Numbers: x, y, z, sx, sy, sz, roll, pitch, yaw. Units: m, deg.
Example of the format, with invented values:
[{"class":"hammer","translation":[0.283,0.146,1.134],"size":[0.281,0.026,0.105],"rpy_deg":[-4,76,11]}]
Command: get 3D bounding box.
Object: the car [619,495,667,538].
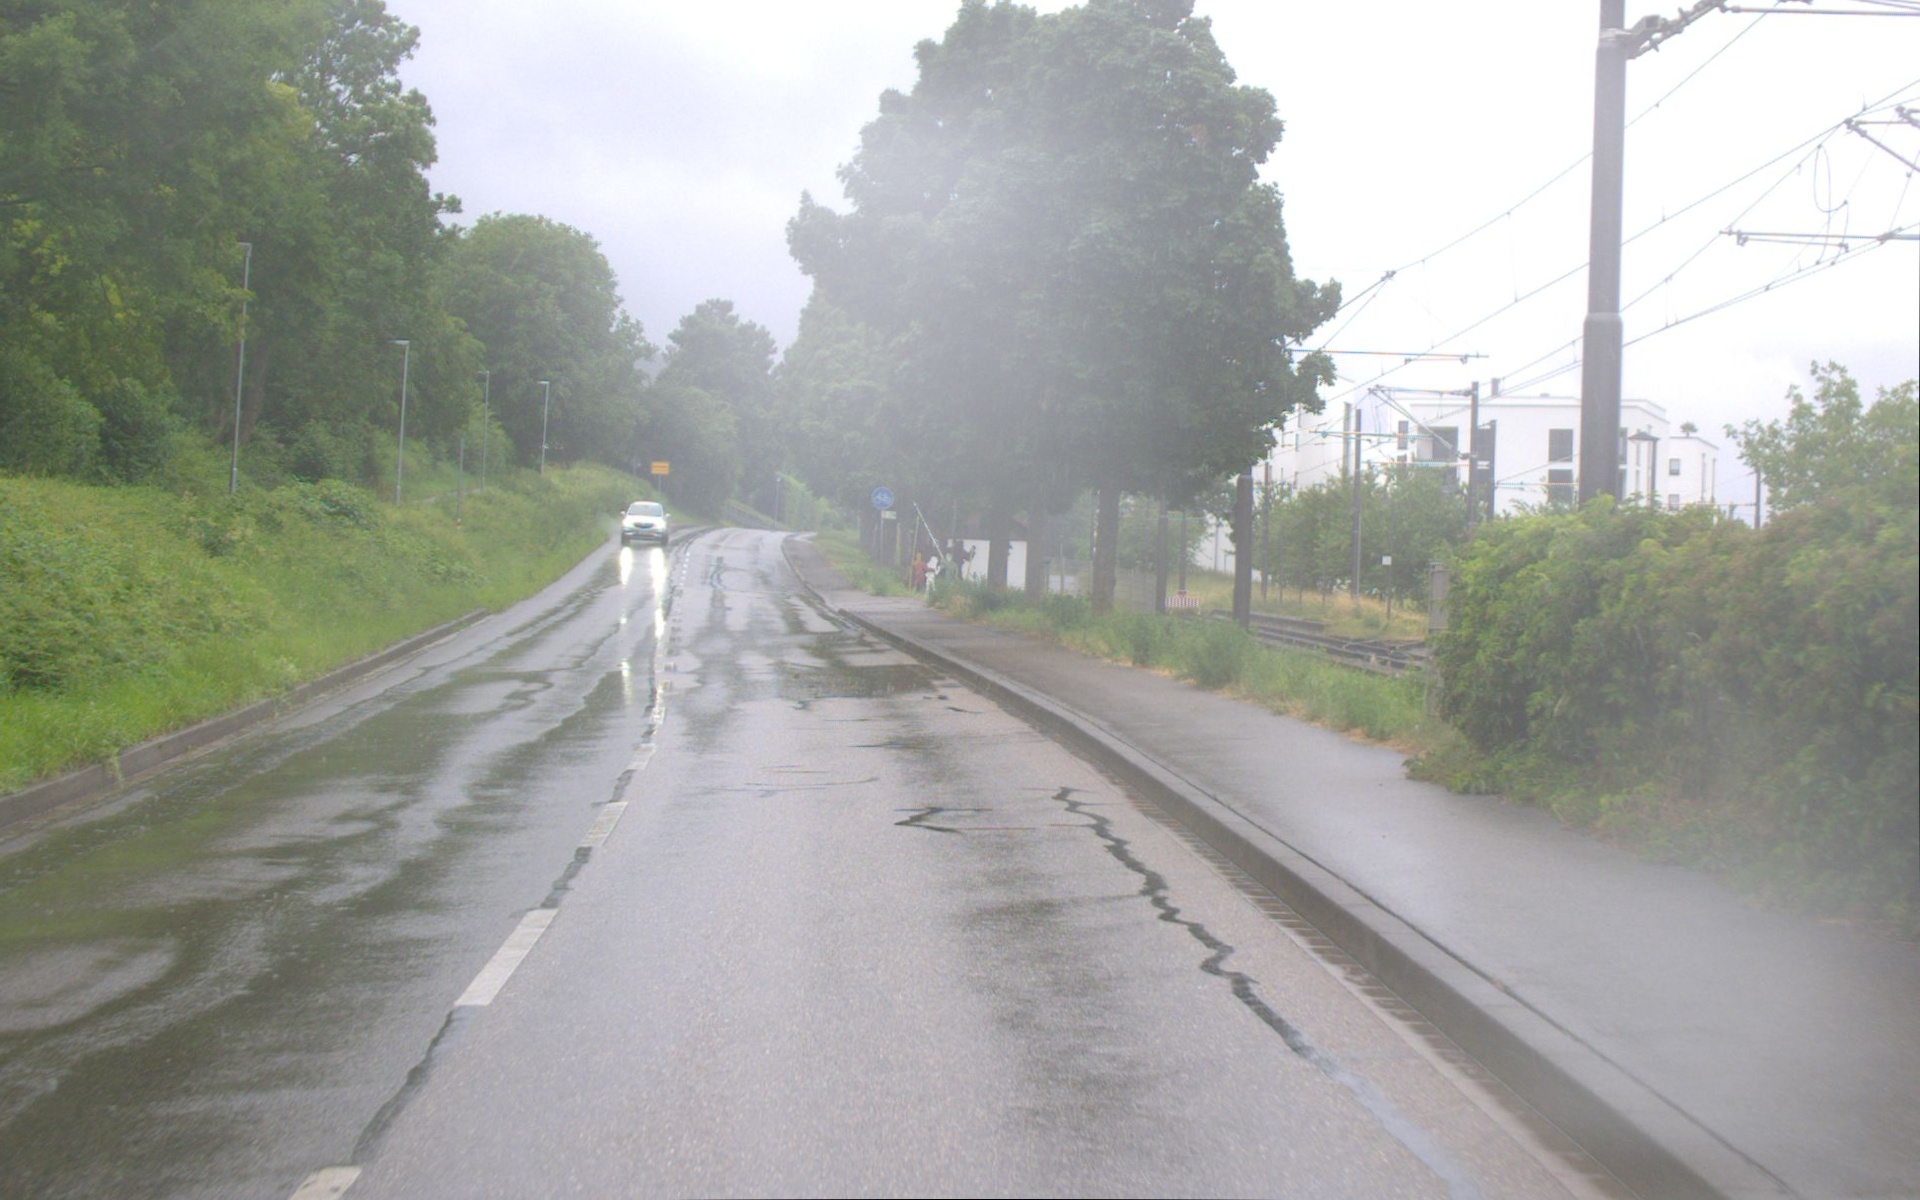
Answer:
[{"class":"car","translation":[-12.634,-3.333,136.853],"size":[1.744,1.606,4.089],"rpy_deg":[2,2,-7]}]
